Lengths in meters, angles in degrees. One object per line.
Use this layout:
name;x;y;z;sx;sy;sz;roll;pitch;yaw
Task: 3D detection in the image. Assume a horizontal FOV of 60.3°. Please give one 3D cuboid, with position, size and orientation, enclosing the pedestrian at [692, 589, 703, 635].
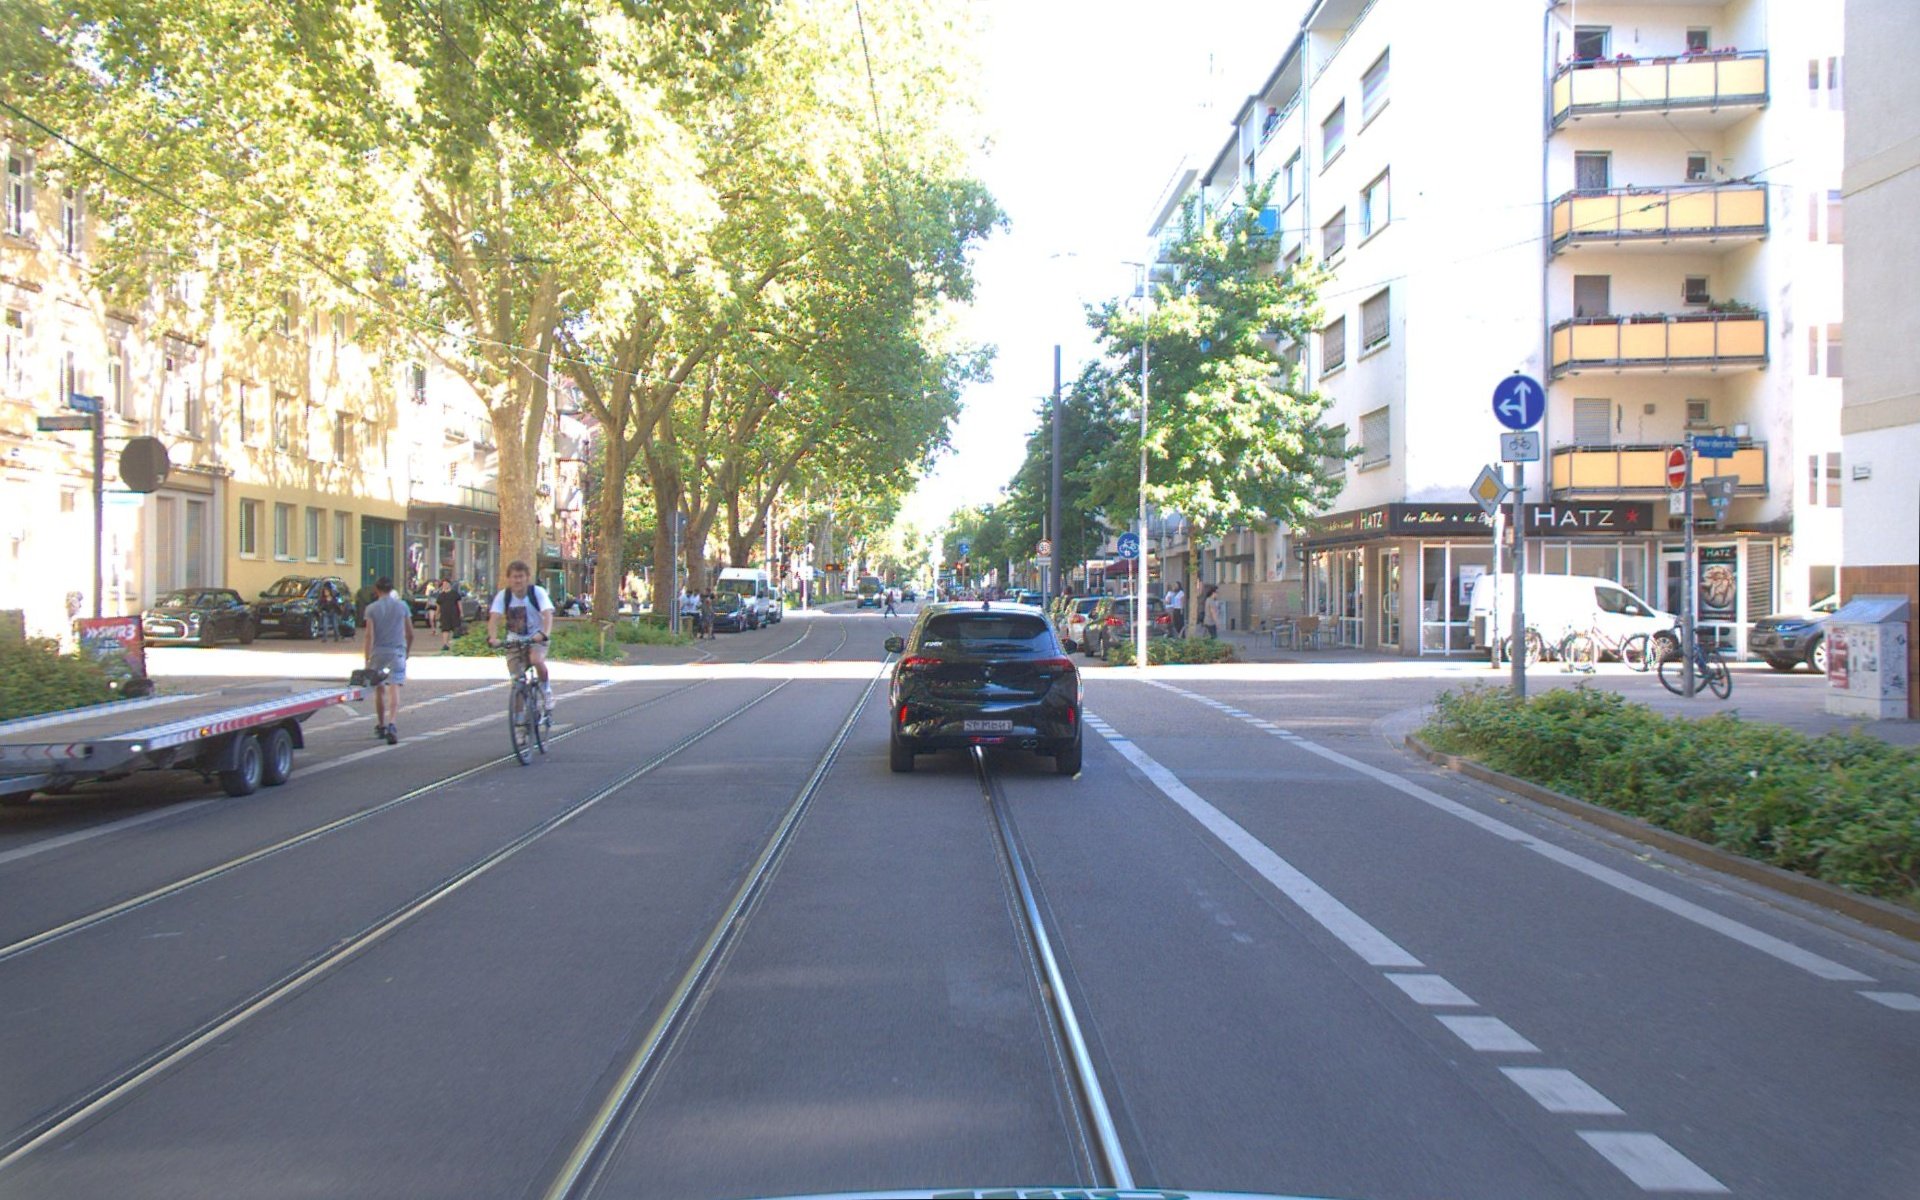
pedestrian;-9.137;0.416;57.596;0.339;1.610;0.508;0;0;-3

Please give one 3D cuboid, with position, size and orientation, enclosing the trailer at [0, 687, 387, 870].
trailer;-6.401;1.190;12.364;2.117;0.643;6.398;-2;0;-1

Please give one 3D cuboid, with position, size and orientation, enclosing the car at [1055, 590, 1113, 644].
car;3.813;0.502;51.209;1.617;1.601;3.084;0;0;1

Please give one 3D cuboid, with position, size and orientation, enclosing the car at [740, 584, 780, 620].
car;-10.110;0.084;83.824;1.955;1.747;3.994;0;0;-7

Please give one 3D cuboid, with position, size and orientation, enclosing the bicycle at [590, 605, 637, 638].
bicycle;-12.008;0.746;57.334;1.659;1.080;0.452;2;-1;29

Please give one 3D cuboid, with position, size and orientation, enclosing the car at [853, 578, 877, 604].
car;-8.291;-0.790;144.558;1.955;2.250;5.097;0;0;-5

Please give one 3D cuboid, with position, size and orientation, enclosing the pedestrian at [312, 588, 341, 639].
pedestrian;-17.821;0.378;46.533;0.540;1.427;0.649;0;0;2

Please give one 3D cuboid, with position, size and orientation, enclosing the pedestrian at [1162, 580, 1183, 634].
pedestrian;6.615;0.223;51.516;0.588;1.680;0.631;0;0;0

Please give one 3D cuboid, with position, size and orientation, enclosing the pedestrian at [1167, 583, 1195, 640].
pedestrian;7.012;0.366;52.507;0.776;1.779;0.770;0;0;1

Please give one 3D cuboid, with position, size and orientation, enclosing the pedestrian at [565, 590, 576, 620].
pedestrian;-20.723;0.248;87.975;0.497;1.610;0.526;0;0;-4

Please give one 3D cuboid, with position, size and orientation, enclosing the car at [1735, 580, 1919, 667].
car;17.309;0.432;31.871;3.924;1.634;1.803;0;0;-2

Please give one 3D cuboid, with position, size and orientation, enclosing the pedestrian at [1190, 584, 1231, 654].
pedestrian;5.998;0.453;39.577;0.837;1.645;0.770;0;0;22

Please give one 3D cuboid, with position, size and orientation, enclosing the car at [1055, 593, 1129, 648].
car;3.729;0.546;47.184;1.684;1.516;3.680;0;0;-3

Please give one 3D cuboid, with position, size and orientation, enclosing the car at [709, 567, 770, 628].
car;-9.734;-0.128;73.392;2.050;2.629;5.995;0;0;-1

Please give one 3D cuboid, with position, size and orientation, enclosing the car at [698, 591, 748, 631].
car;-9.593;0.422;67.178;1.720;1.534;3.996;0;0;-4

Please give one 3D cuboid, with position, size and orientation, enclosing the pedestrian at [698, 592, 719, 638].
pedestrian;-8.856;0.518;58.197;0.670;1.610;0.557;0;0;-3

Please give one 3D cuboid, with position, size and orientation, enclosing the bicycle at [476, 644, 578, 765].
bicycle;-3.984;0.932;15.331;0.510;0.979;1.928;0;0;-3

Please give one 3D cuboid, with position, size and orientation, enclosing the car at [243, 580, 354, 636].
car;-19.350;0.228;48.569;1.647;1.543;4.000;1;0;0

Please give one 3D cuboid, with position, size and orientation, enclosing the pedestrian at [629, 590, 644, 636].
pedestrian;-11.308;0.449;57.783;0.498;1.610;0.525;0;0;-13

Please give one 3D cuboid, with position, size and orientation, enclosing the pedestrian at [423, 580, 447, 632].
pedestrian;-16.821;0.188;53.000;0.540;1.681;0.649;0;0;2

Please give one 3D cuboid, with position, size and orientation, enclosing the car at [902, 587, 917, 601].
car;-6.148;-0.778;201.376;1.714;1.680;4.000;0;0;0

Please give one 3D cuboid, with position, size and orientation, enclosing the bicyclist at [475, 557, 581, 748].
bicyclist;-3.986;0.468;15.322;0.769;1.707;0.957;0;0;-3

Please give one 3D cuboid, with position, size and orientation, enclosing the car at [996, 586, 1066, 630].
car;2.785;0.306;65.770;1.958;1.668;3.989;0;0;-11

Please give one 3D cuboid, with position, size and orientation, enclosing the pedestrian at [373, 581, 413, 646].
pedestrian;-14.604;0.354;42.611;0.830;1.661;0.643;0;0;-7

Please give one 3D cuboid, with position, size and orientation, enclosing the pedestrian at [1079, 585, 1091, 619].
pedestrian;6.478;0.093;85.435;0.616;1.763;0.632;0;0;4

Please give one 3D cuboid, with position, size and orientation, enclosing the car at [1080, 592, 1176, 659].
car;4.154;0.606;41.526;1.684;1.601;4.080;0;0;-5

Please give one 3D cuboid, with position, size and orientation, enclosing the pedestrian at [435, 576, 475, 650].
pedestrian;-13.151;0.332;43.103;0.888;1.901;0.643;0;0;-7

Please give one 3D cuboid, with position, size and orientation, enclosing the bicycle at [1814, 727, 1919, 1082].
bicycle;3.505;1.028;5.065;0.687;1.111;1.989;2;0;-2

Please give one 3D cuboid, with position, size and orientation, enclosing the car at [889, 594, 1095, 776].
car;0.218;0.695;15.359;1.646;1.447;3.626;2;0;-2

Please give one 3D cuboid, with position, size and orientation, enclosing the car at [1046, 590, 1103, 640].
car;3.770;0.466;55.006;1.683;1.601;3.682;0;0;1

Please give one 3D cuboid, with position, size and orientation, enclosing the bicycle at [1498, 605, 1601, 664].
bicycle;11.713;0.682;32.900;1.797;1.136;0.703;0;0;2

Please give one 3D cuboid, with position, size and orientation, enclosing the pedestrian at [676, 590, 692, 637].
pedestrian;-9.586;0.457;57.397;0.497;1.610;0.526;0;0;-5

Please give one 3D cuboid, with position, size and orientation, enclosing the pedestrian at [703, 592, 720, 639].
pedestrian;-8.648;0.534;57.552;0.496;1.610;0.526;0;0;-2

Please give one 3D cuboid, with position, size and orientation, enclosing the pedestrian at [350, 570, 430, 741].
pedestrian;-6.098;0.573;17.740;0.699;1.765;0.909;-2;0;-15

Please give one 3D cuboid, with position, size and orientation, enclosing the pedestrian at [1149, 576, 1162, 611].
pedestrian;9.677;-0.324;81.835;0.616;1.763;0.632;0;0;5

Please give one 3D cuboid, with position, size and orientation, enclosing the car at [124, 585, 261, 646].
car;-19.416;0.361;42.033;1.647;1.489;4.000;0;0;0

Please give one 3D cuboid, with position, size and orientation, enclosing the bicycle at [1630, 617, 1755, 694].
bicycle;10.661;0.789;24.158;0.787;1.033;1.966;-1;0;-6

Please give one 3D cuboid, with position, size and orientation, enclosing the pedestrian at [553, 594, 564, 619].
pedestrian;-21.407;0.357;88.270;0.497;1.356;0.526;0;0;-4

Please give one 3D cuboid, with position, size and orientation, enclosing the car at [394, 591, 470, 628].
car;-19.570;0.339;61.486;1.661;1.298;3.827;0;1;-1

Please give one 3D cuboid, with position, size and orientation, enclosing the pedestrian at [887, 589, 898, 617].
pedestrian;-3.948;0.182;96.681;0.583;1.618;0.891;0;0;-8

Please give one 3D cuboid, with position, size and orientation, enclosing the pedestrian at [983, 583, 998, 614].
pedestrian;2.149;-0.107;115.904;0.839;2.048;1.069;-4;0;-1

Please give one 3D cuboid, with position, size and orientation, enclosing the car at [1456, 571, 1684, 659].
car;13.309;0.308;36.240;4.273;1.863;1.998;0;0;-5

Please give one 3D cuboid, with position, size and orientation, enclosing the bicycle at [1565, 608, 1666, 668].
bicycle;12.579;0.719;31.783;1.734;1.136;0.614;0;0;12

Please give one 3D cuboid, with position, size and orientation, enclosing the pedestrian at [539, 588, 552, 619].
pedestrian;-21.104;0.175;84.194;0.542;1.610;0.573;0;0;-5
